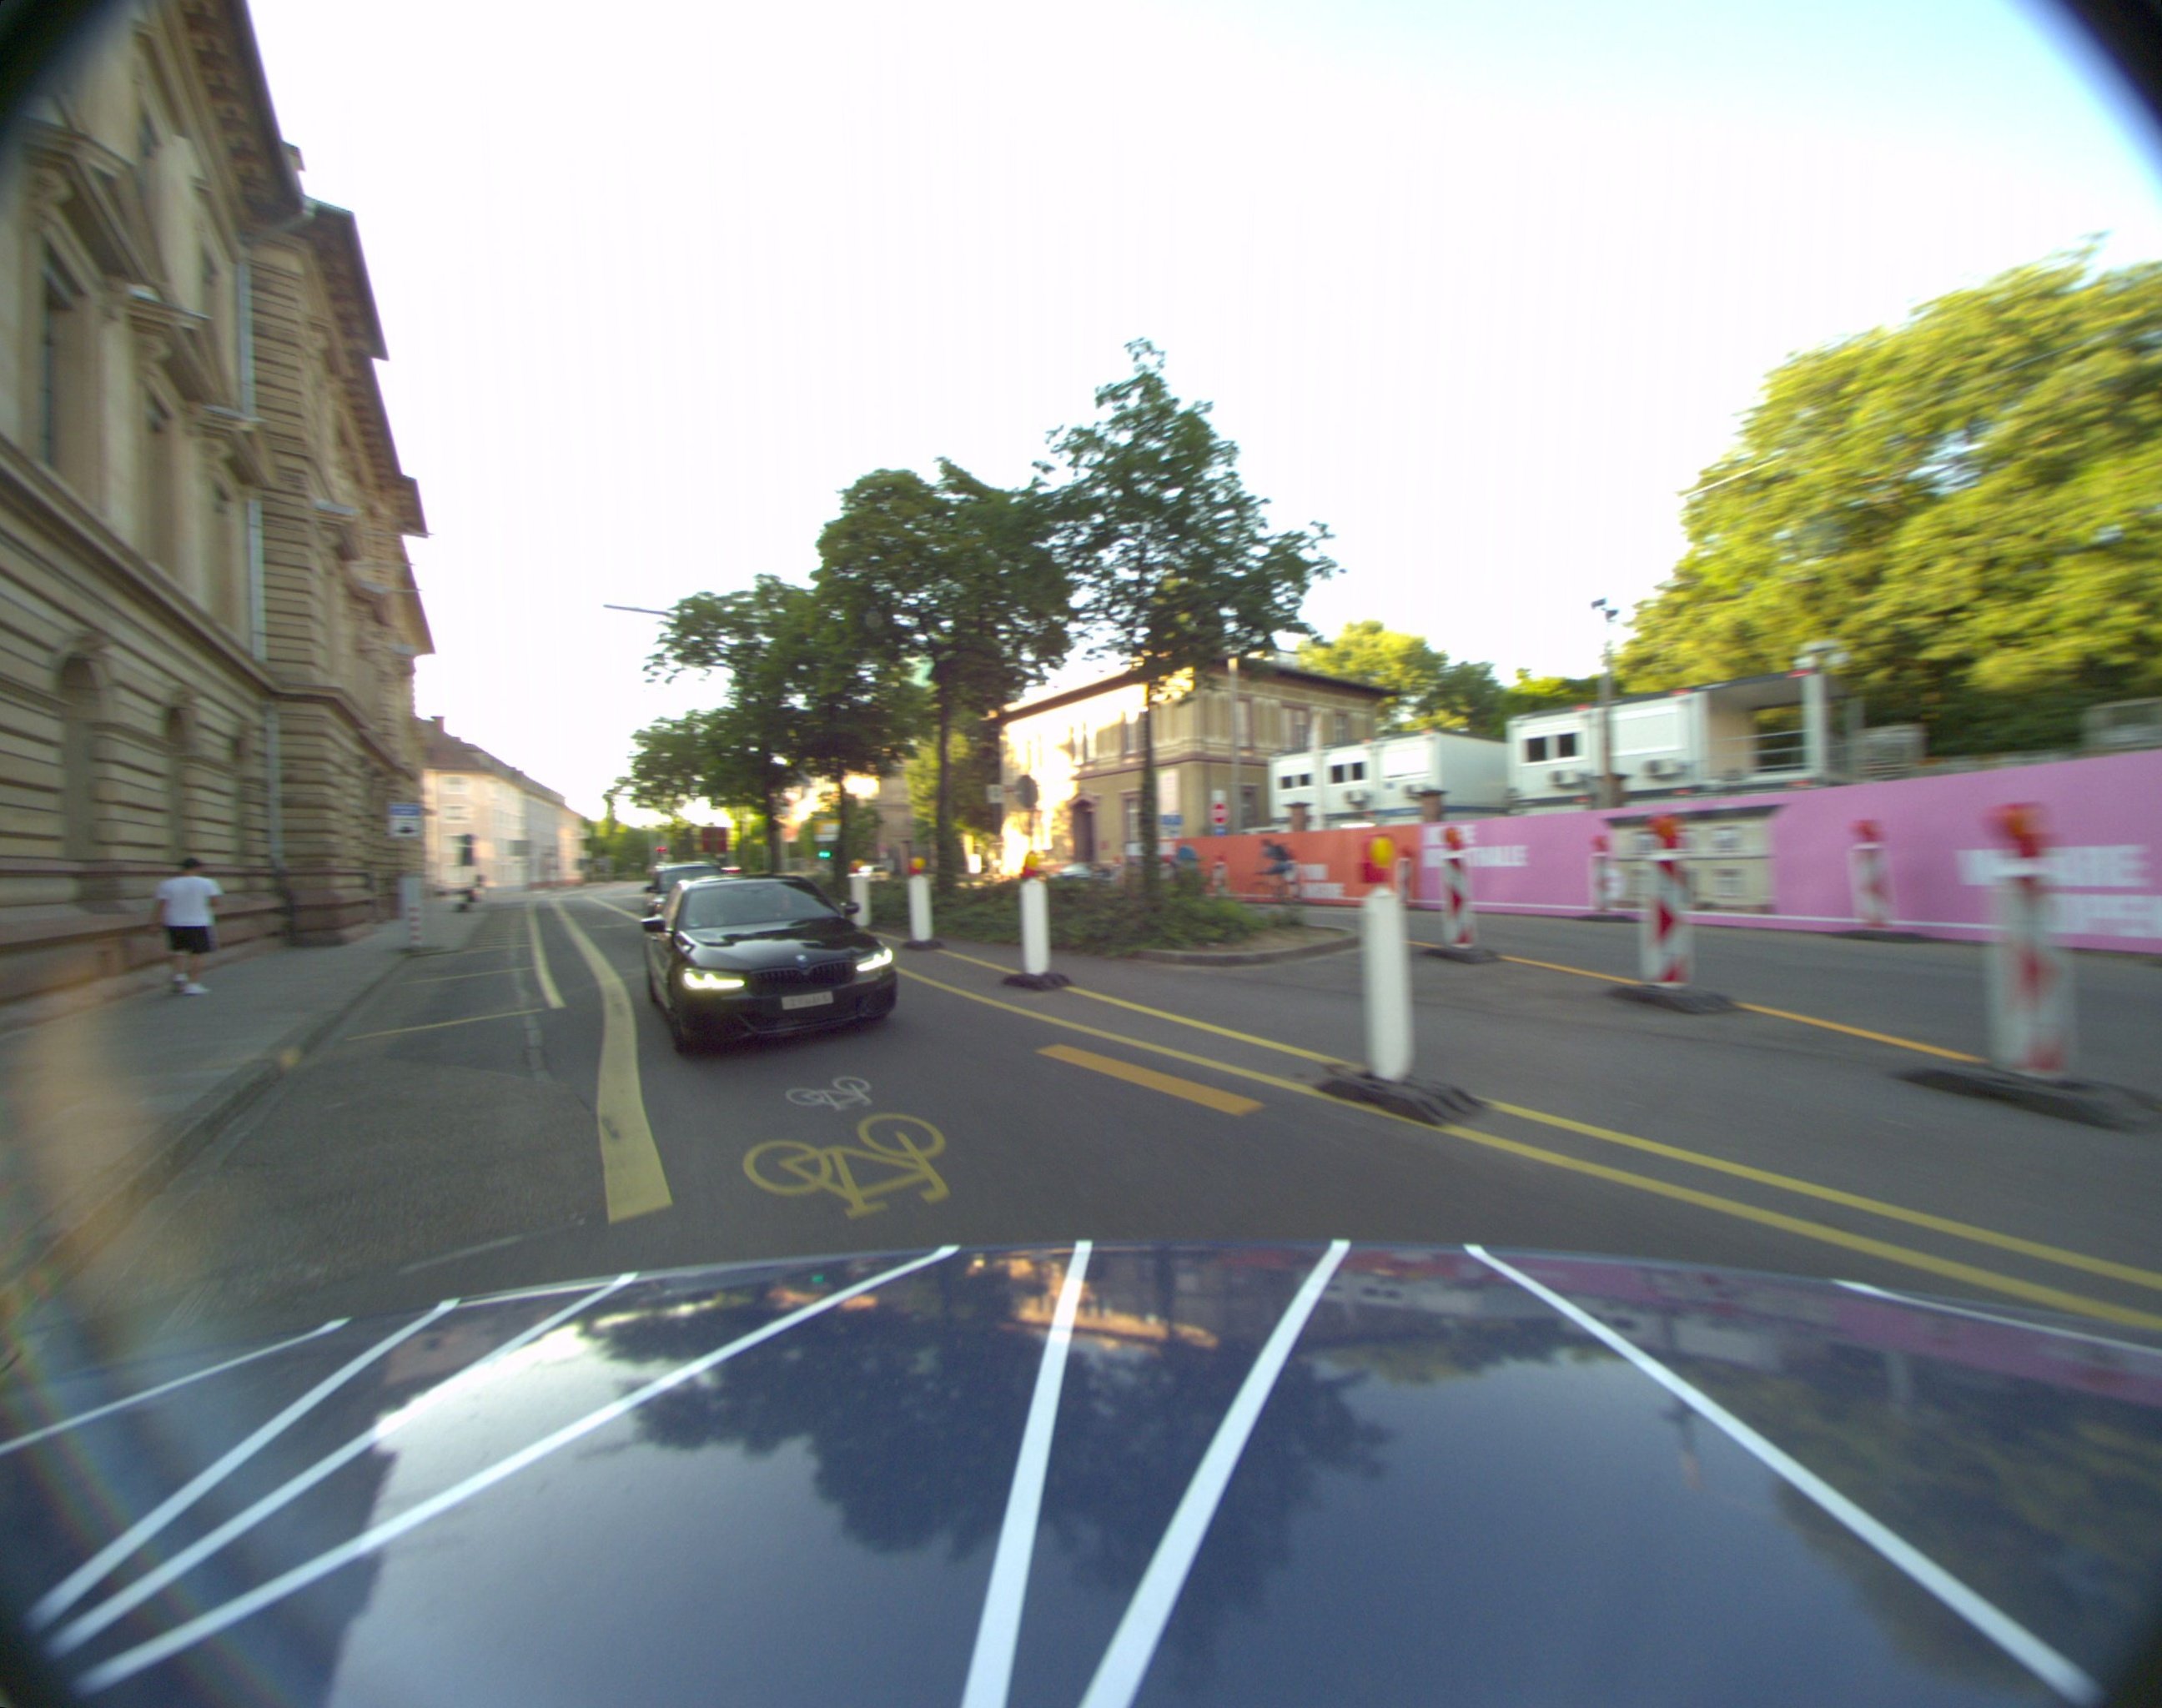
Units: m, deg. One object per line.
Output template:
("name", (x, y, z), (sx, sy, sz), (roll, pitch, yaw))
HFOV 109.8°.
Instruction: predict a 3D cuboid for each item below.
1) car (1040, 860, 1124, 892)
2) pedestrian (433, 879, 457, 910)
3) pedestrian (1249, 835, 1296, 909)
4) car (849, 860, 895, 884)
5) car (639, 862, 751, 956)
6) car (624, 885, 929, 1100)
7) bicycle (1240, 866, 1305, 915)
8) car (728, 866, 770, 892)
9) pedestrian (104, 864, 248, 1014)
("car", (-0.012, 0.974, 33.862), (1.688, 1.343, 3.877), (0, -1, -38))
("pedestrian", (-43.111, 2.739, 51.501), (0.787, 2.002, 0.993), (-2, 0, -12))
("pedestrian", (4.503, 0.419, 17.903), (0.737, 1.664, 0.895), (-2, 0, -6))
("car", (-14.933, 1.287, 54.143), (1.753, 1.538, 4.359), (-4, 0, -35))
("car", (-8.614, 1.088, 16.773), (1.842, 1.674, 4.214), (-4, 1, -31))
("car", (-3.502, 1.106, 8.033), (1.969, 1.378, 4.769), (-3, 0, -34))
("bicycle", (4.506, 0.828, 18.024), (0.763, 1.031, 2.119), (-2, 0, -7))
("car", (-21.917, 1.621, 50.276), (1.852, 1.538, 4.114), (-2, 0, -15))
("pedestrian", (-11.599, 1.041, 9.787), (0.820, 1.755, 1.035), (-4, 1, -31))
